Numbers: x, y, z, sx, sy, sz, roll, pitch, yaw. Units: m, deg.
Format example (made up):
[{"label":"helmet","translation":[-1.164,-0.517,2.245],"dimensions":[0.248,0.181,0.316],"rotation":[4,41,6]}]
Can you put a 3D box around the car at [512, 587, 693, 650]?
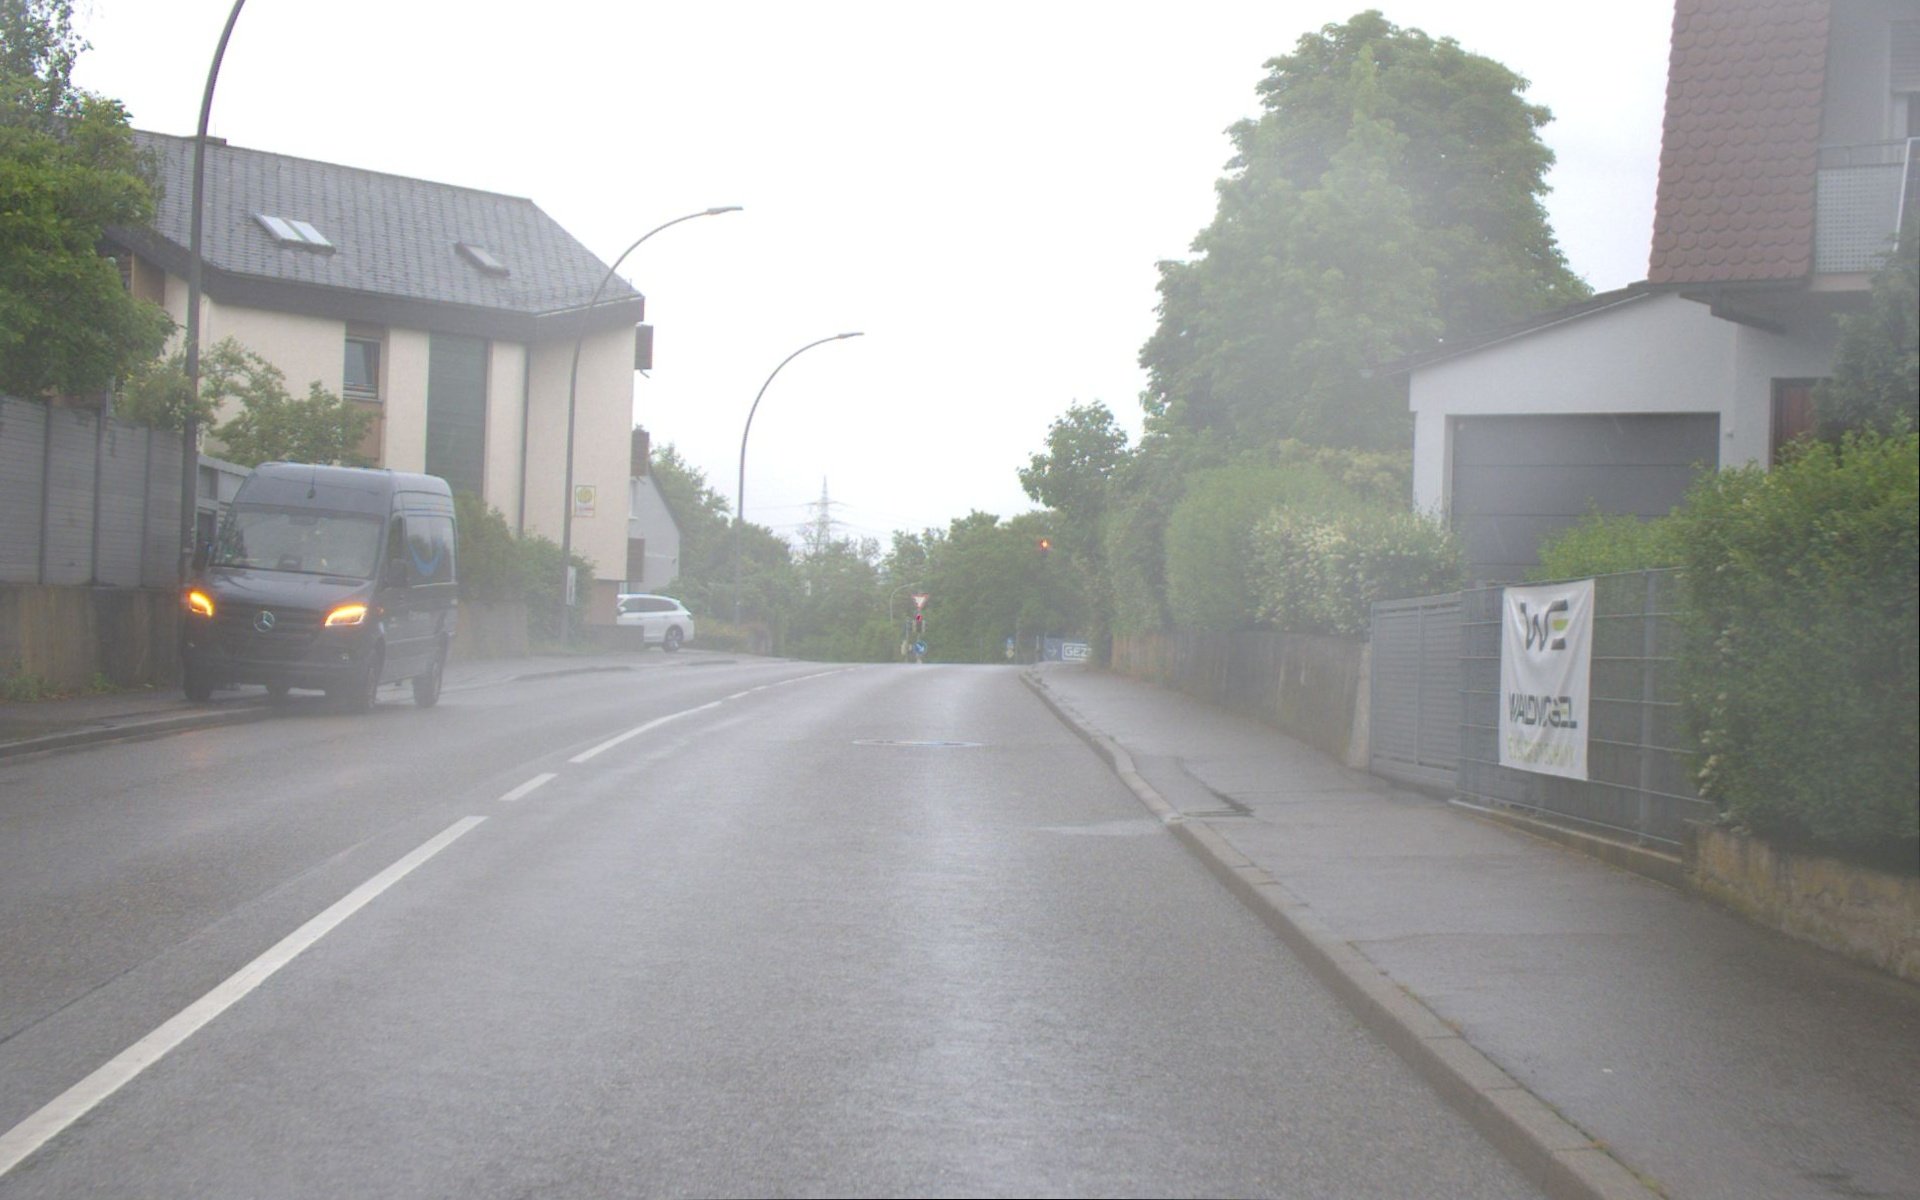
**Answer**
[{"label":"car","translation":[-9.326,0.495,90.066],"dimensions":[1.905,1.472,4.871],"rotation":[3,0,36]}]

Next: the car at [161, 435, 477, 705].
[{"label":"car","translation":[-6.928,-0.308,37.871],"dimensions":[2.094,2.640,5.918],"rotation":[3,0,2]}]
